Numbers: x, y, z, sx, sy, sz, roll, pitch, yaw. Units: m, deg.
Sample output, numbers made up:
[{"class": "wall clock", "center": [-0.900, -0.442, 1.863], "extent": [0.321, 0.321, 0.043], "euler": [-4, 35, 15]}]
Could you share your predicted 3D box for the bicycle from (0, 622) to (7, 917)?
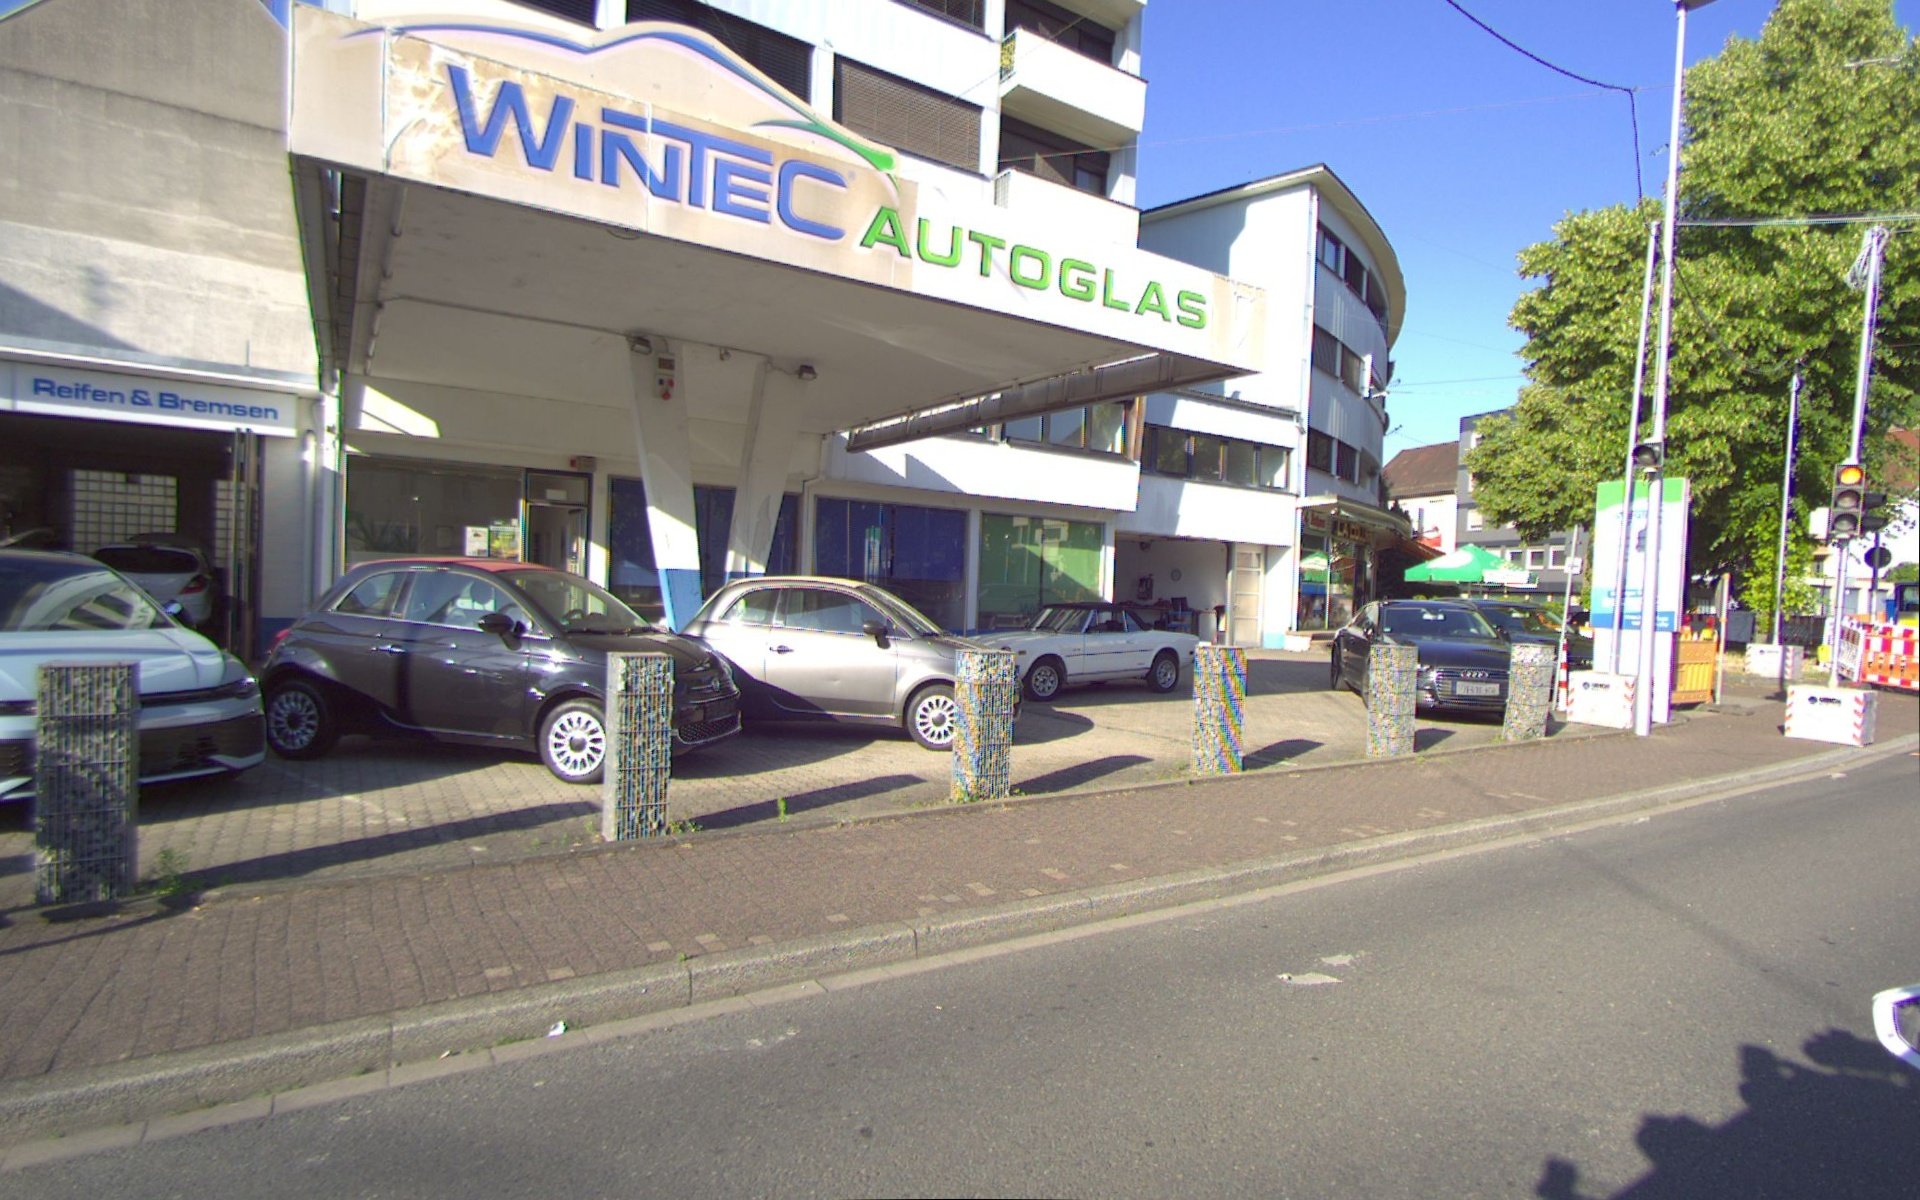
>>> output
[{"class": "bicycle", "center": [-4.361, 0.678, 3.276], "extent": [1.767, 1.193, 0.716], "euler": [1, 1, -42]}]

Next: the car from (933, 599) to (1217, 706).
[{"class": "car", "center": [1.740, 0.665, 14.465], "extent": [4.099, 1.301, 1.575], "euler": [0, 1, -36]}]

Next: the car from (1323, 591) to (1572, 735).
[{"class": "car", "center": [6.262, 0.685, 13.497], "extent": [1.872, 1.474, 4.315], "euler": [2, 2, 11]}]

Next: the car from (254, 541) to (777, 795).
[{"class": "car", "center": [-3.305, 0.427, 7.734], "extent": [3.325, 1.589, 1.623], "euler": [2, 1, 11]}]

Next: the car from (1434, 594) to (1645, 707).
[{"class": "car", "center": [9.344, 0.710, 16.609], "extent": [1.617, 1.474, 4.301], "euler": [2, 2, 11]}]

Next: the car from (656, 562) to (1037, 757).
[{"class": "car", "center": [-0.984, 0.503, 9.714], "extent": [3.325, 1.589, 1.623], "euler": [2, 1, 7]}]

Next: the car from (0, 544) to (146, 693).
[{"class": "car", "center": [-11.716, 0.154, 10.915], "extent": [4.270, 1.589, 1.756], "euler": [1, 2, -34]}]

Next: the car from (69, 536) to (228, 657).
[{"class": "car", "center": [-13.241, -0.139, 16.609], "extent": [1.755, 1.733, 4.272], "euler": [1, 2, -35]}]

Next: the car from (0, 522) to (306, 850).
[{"class": "car", "center": [-6.090, 0.323, 6.244], "extent": [3.927, 1.589, 1.770], "euler": [3, 2, 29]}]
